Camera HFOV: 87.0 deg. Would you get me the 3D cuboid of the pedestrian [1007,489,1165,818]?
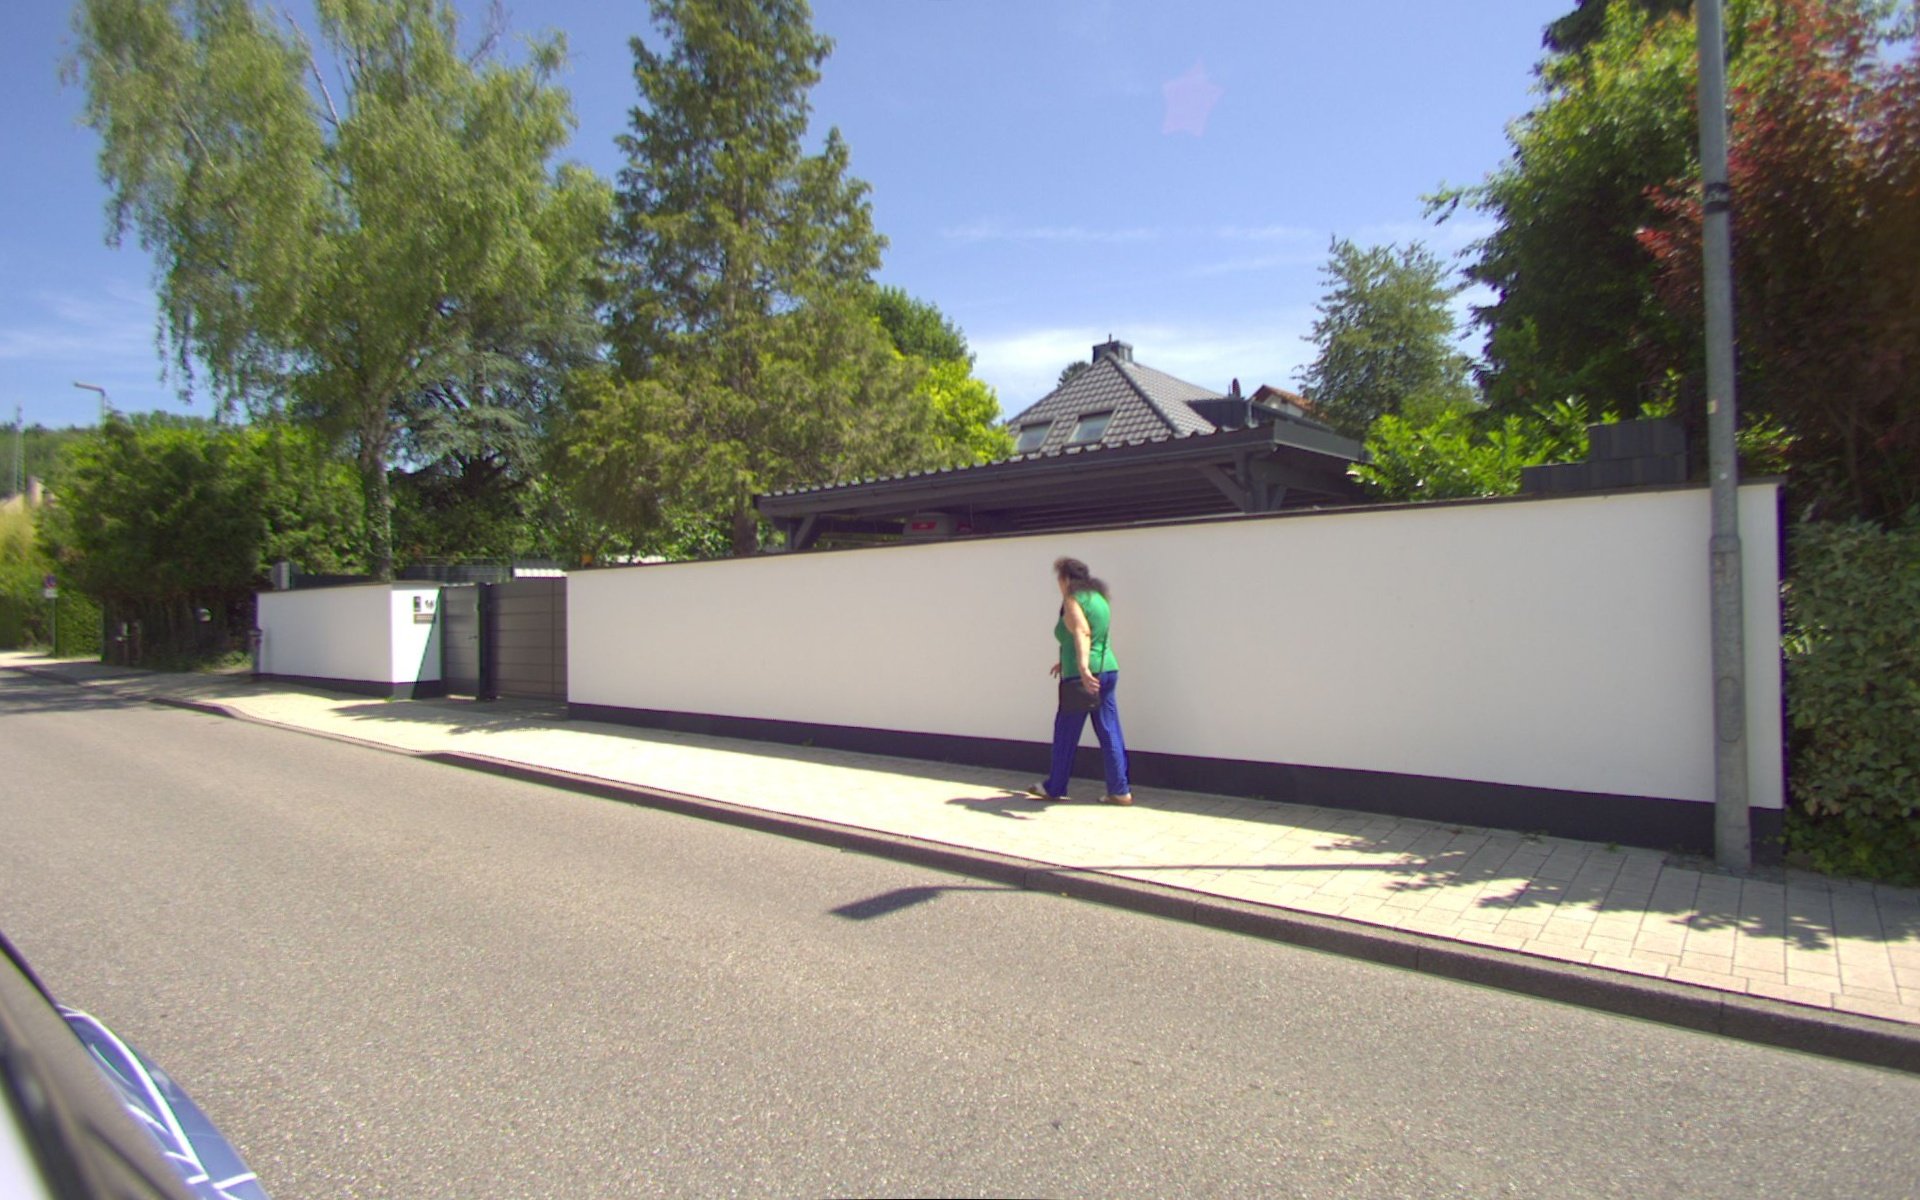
[{"bbox_3d":[0.848,0.326,6.758,0.802,2.029,0.715,0,1,33],"label":"pedestrian"}]
